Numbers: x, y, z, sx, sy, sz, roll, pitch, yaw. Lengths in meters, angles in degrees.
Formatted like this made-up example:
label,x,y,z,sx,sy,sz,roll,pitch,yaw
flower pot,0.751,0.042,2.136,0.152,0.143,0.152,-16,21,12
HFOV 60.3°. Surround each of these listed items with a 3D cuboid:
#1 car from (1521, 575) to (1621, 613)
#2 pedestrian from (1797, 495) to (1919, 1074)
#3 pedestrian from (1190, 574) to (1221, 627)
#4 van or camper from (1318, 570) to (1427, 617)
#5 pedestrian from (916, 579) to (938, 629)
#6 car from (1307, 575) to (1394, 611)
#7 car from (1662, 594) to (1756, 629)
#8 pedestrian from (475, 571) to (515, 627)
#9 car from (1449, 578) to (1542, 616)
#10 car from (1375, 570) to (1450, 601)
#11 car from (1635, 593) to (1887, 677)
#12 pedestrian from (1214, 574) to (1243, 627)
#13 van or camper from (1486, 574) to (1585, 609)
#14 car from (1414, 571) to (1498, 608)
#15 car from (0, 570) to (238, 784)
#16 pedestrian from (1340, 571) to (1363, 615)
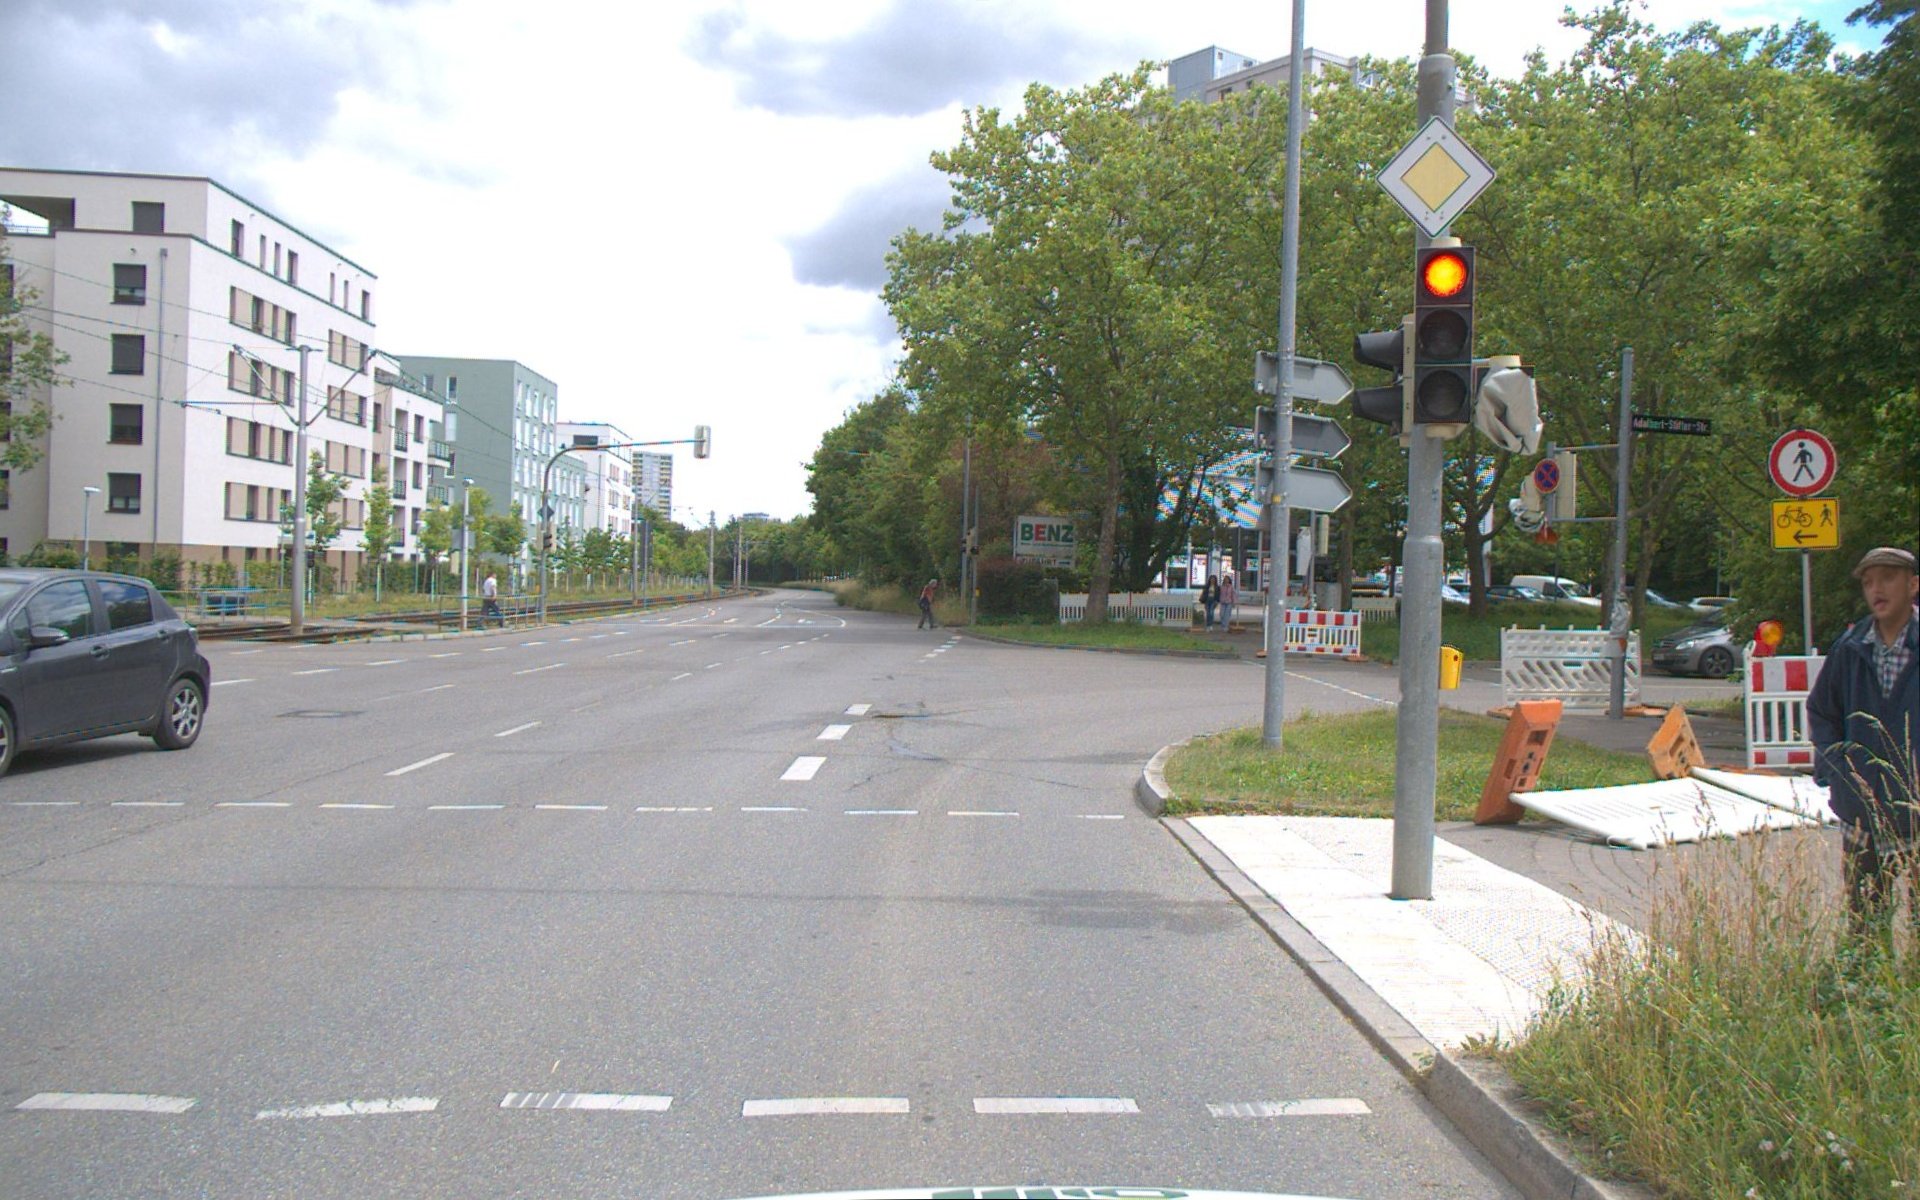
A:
label,x,y,z,sx,sy,sz,roll,pitch,yaw
car,25.541,-0.252,69.251,1.465,1.491,3.851,1,0,-31
pedestrian,3.185,0.562,5.456,0.712,1.770,0.954,1,0,28
pedestrian,7.099,0.017,47.806,0.704,1.515,0.698,1,-1,28
van or camper,15.489,-0.259,62.234,1.819,1.713,3.964,0,1,-28
pedestrian,-1.030,0.127,51.863,0.640,1.565,0.772,1,-1,-1
car,16.622,-0.300,70.441,3.345,1.471,1.477,1,0,-19
car,34.181,0.512,75.544,1.708,1.526,3.712,1,0,-27
pedestrian,-13.646,-0.026,48.593,0.777,1.614,0.851,1,-1,16
car,21.096,-0.122,65.254,1.464,1.429,3.375,1,0,-30
car,21.469,-0.688,78.554,1.465,1.429,3.372,1,0,-31
car,16.353,0.699,33.911,4.307,1.614,1.772,1,0,0
pedestrian,7.829,0.022,48.249,0.672,1.515,0.699,1,-1,23
van or camper,23.594,-0.342,67.885,1.499,1.380,3.732,1,0,-33
car,24.054,-0.501,80.252,1.650,1.663,3.783,1,1,-30
car,-7.469,0.518,12.669,1.739,1.495,4.047,1,1,6
pedestrian,18.145,-0.319,76.668,0.789,2.037,0.852,1,-1,-5
